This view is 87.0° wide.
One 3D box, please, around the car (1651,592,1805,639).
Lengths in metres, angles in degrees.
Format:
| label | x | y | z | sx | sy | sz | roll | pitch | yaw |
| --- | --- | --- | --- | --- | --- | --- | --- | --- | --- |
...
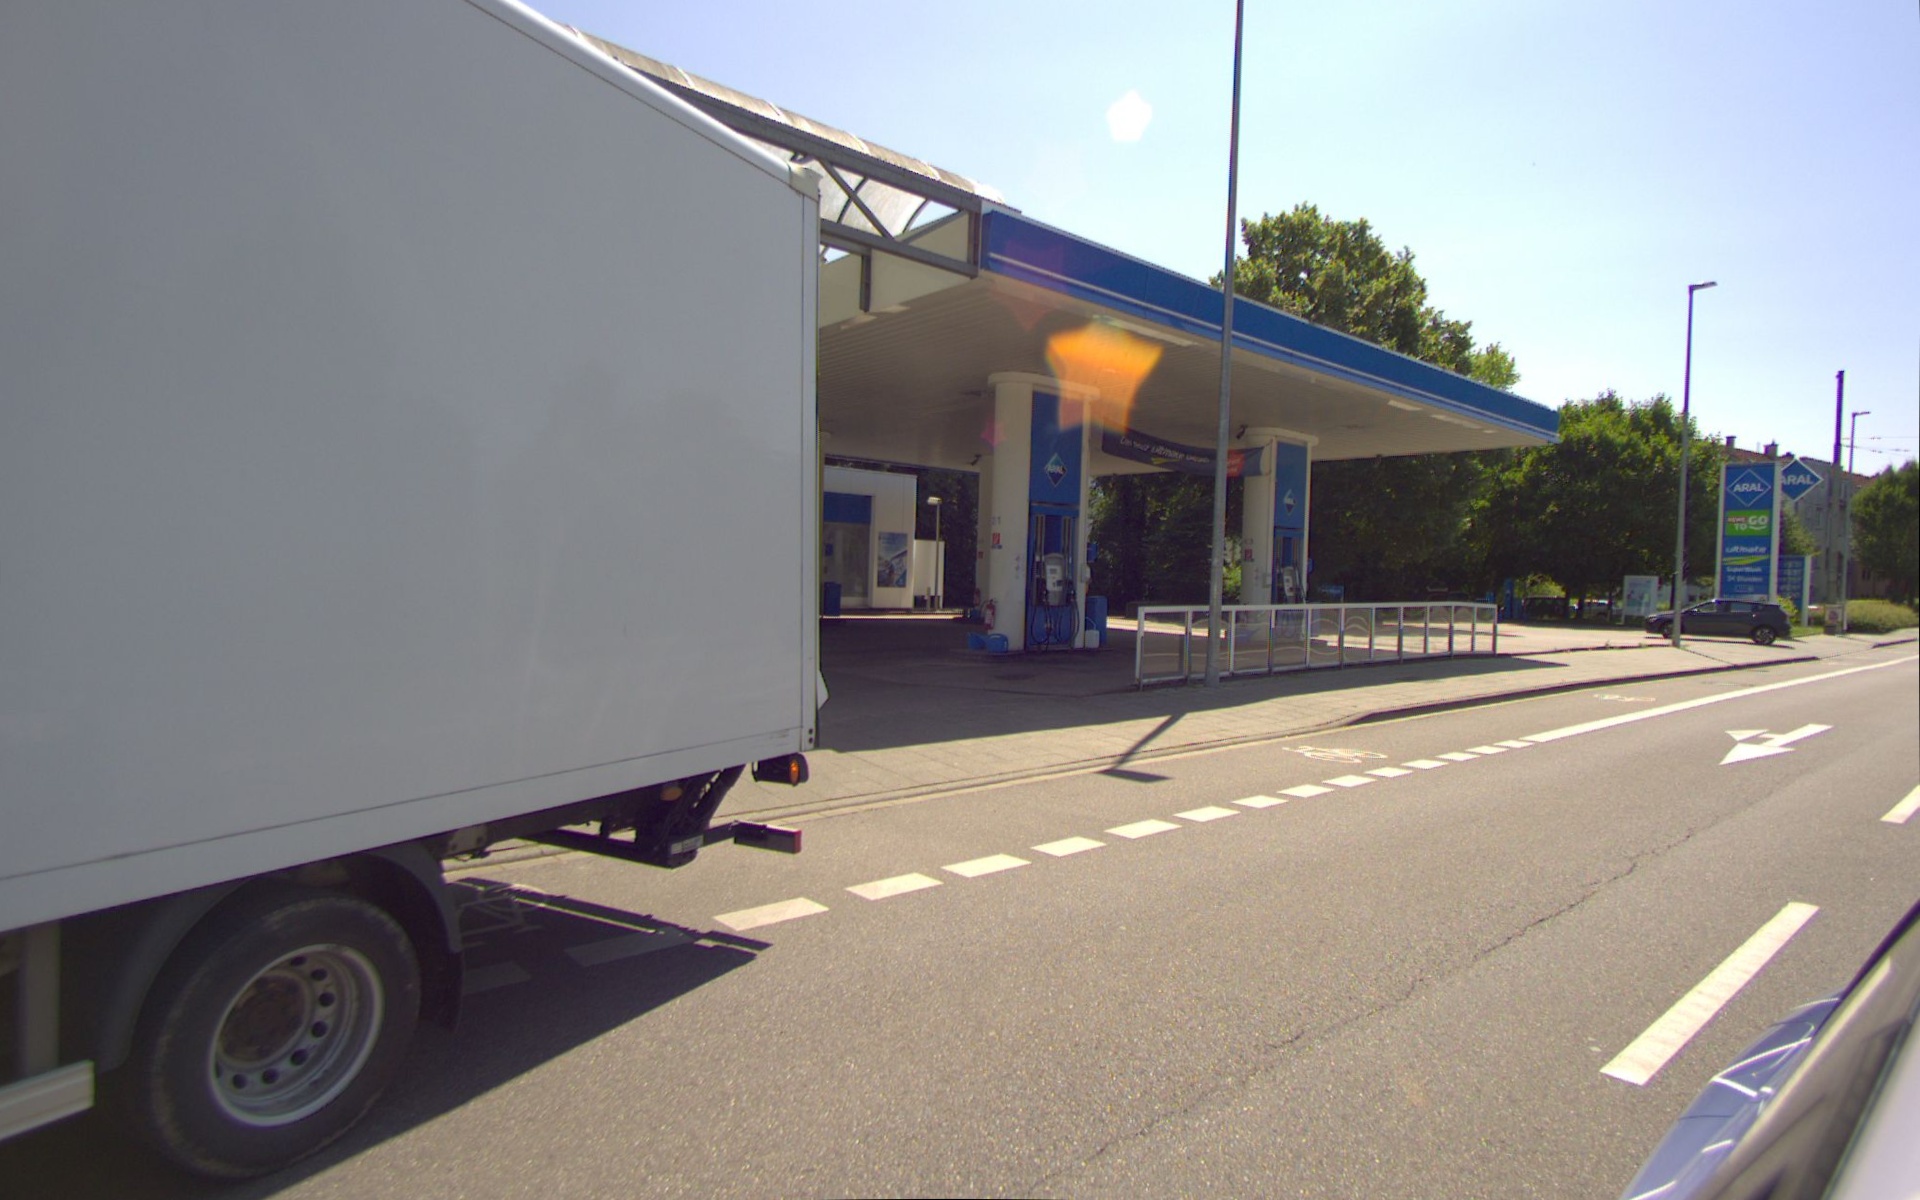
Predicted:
| label | x | y | z | sx | sy | sz | roll | pitch | yaw |
| --- | --- | --- | --- | --- | --- | --- | --- | --- | --- |
| car | 26.370 | 0.491 | 34.904 | 4.118 | 1.440 | 1.696 | 2 | 1 | 37 |

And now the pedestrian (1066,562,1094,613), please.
| label | x | y | z | sx | sy | sz | roll | pitch | yaw |
| --- | --- | --- | --- | --- | --- | --- | --- | --- | --- |
| pedestrian | 4.658 | -0.482 | 39.258 | 0.822 | 1.912 | 0.626 | 2 | 1 | -41 |

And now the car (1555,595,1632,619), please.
| label | x | y | z | sx | sy | sz | roll | pitch | yaw |
| --- | --- | --- | --- | --- | --- | --- | --- | --- | --- |
| car | 45.427 | 0.456 | 72.606 | 1.961 | 1.540 | 4.230 | 1 | 2 | -32 |

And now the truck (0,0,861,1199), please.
| label | x | y | z | sx | sy | sz | roll | pitch | yaw |
| --- | --- | --- | --- | --- | --- | --- | --- | --- | --- |
| truck | -3.406 | -0.286 | 1.851 | 2.407 | 3.433 | 7.753 | 2 | 1 | 29 |

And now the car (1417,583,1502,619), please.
| label | x | y | z | sx | sy | sz | roll | pitch | yaw |
| --- | --- | --- | --- | --- | --- | --- | --- | --- | --- |
| car | 25.129 | 0.034 | 50.861 | 4.328 | 1.683 | 2.000 | -1 | 2 | -36 |

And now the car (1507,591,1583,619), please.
| label | x | y | z | sx | sy | sz | roll | pitch | yaw |
| --- | --- | --- | --- | --- | --- | --- | --- | --- | --- |
| car | 39.407 | 0.302 | 68.295 | 1.959 | 1.708 | 4.008 | 1 | 1 | -25 |
